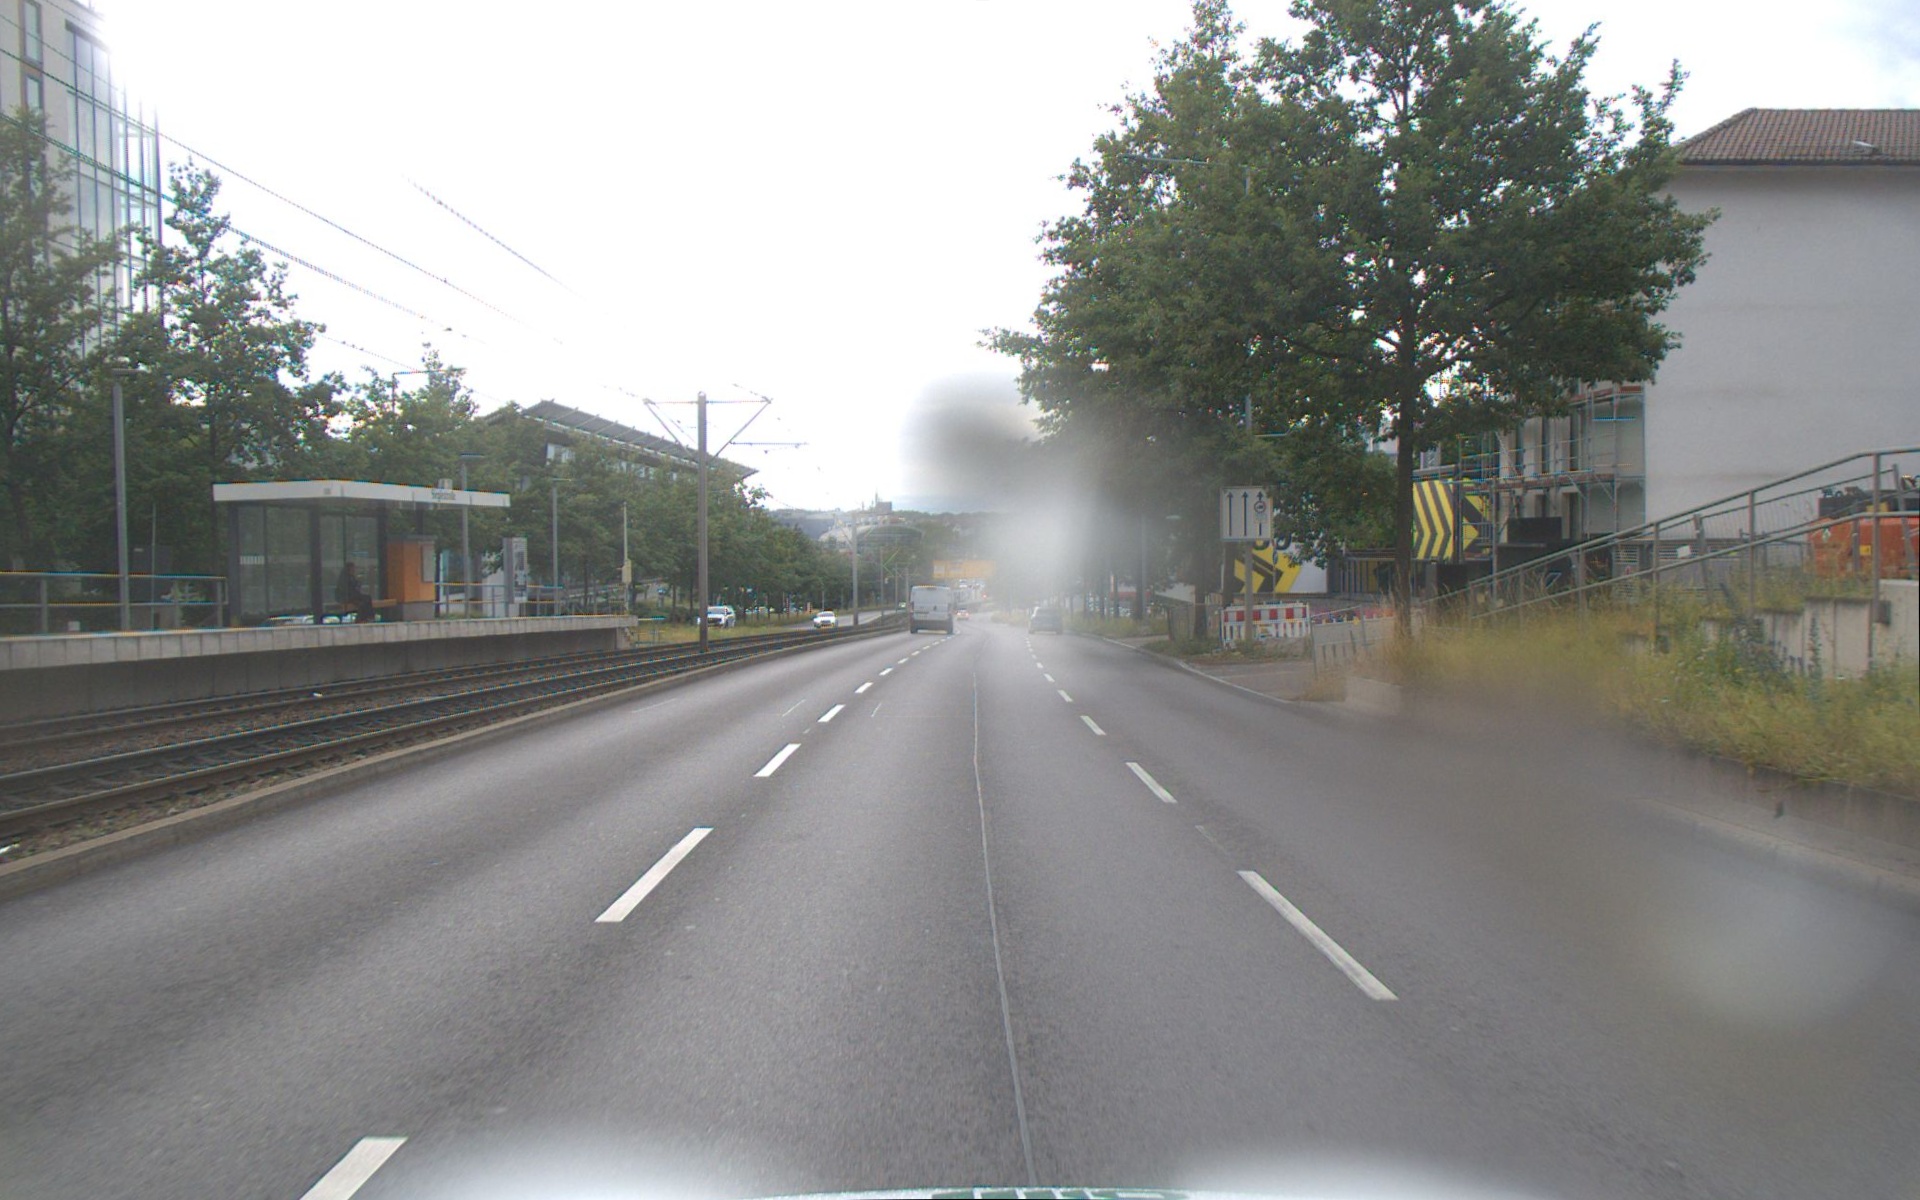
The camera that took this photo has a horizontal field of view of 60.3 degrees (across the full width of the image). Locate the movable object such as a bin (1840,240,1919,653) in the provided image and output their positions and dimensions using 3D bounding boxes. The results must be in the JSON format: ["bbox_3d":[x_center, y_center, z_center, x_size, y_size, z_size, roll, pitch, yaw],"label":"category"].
[{"bbox_3d":[14.967,-2.146,20.790,3.222,5.784,8.764,1,-1,1],"label":"movable object such as a bin"}]

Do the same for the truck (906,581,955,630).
[{"bbox_3d":[-1.448,0.294,81.323,2.312,2.301,5.304,1,-1,-1],"label":"truck"}]

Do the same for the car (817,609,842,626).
[{"bbox_3d":[-11.966,1.586,151.502,1.799,1.469,4.429,-2,0,1],"label":"car"}]

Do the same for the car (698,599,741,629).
[{"bbox_3d":[-15.741,0.888,108.435,1.952,1.879,5.002,-2,0,1],"label":"car"}]

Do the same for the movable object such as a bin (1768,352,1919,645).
[{"bbox_3d":[22.661,-1.944,32.280,11.896,5.353,3.788,-1,-1,-2],"label":"movable object such as a bin"}]

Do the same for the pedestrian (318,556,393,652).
[{"bbox_3d":[-13.210,0.097,36.169,1.103,2.049,1.270,1,-1,1],"label":"pedestrian"}]

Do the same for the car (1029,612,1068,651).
[{"bbox_3d":[4.723,1.674,88.733,1.952,2.049,3.935,1,-1,1],"label":"car"}]
